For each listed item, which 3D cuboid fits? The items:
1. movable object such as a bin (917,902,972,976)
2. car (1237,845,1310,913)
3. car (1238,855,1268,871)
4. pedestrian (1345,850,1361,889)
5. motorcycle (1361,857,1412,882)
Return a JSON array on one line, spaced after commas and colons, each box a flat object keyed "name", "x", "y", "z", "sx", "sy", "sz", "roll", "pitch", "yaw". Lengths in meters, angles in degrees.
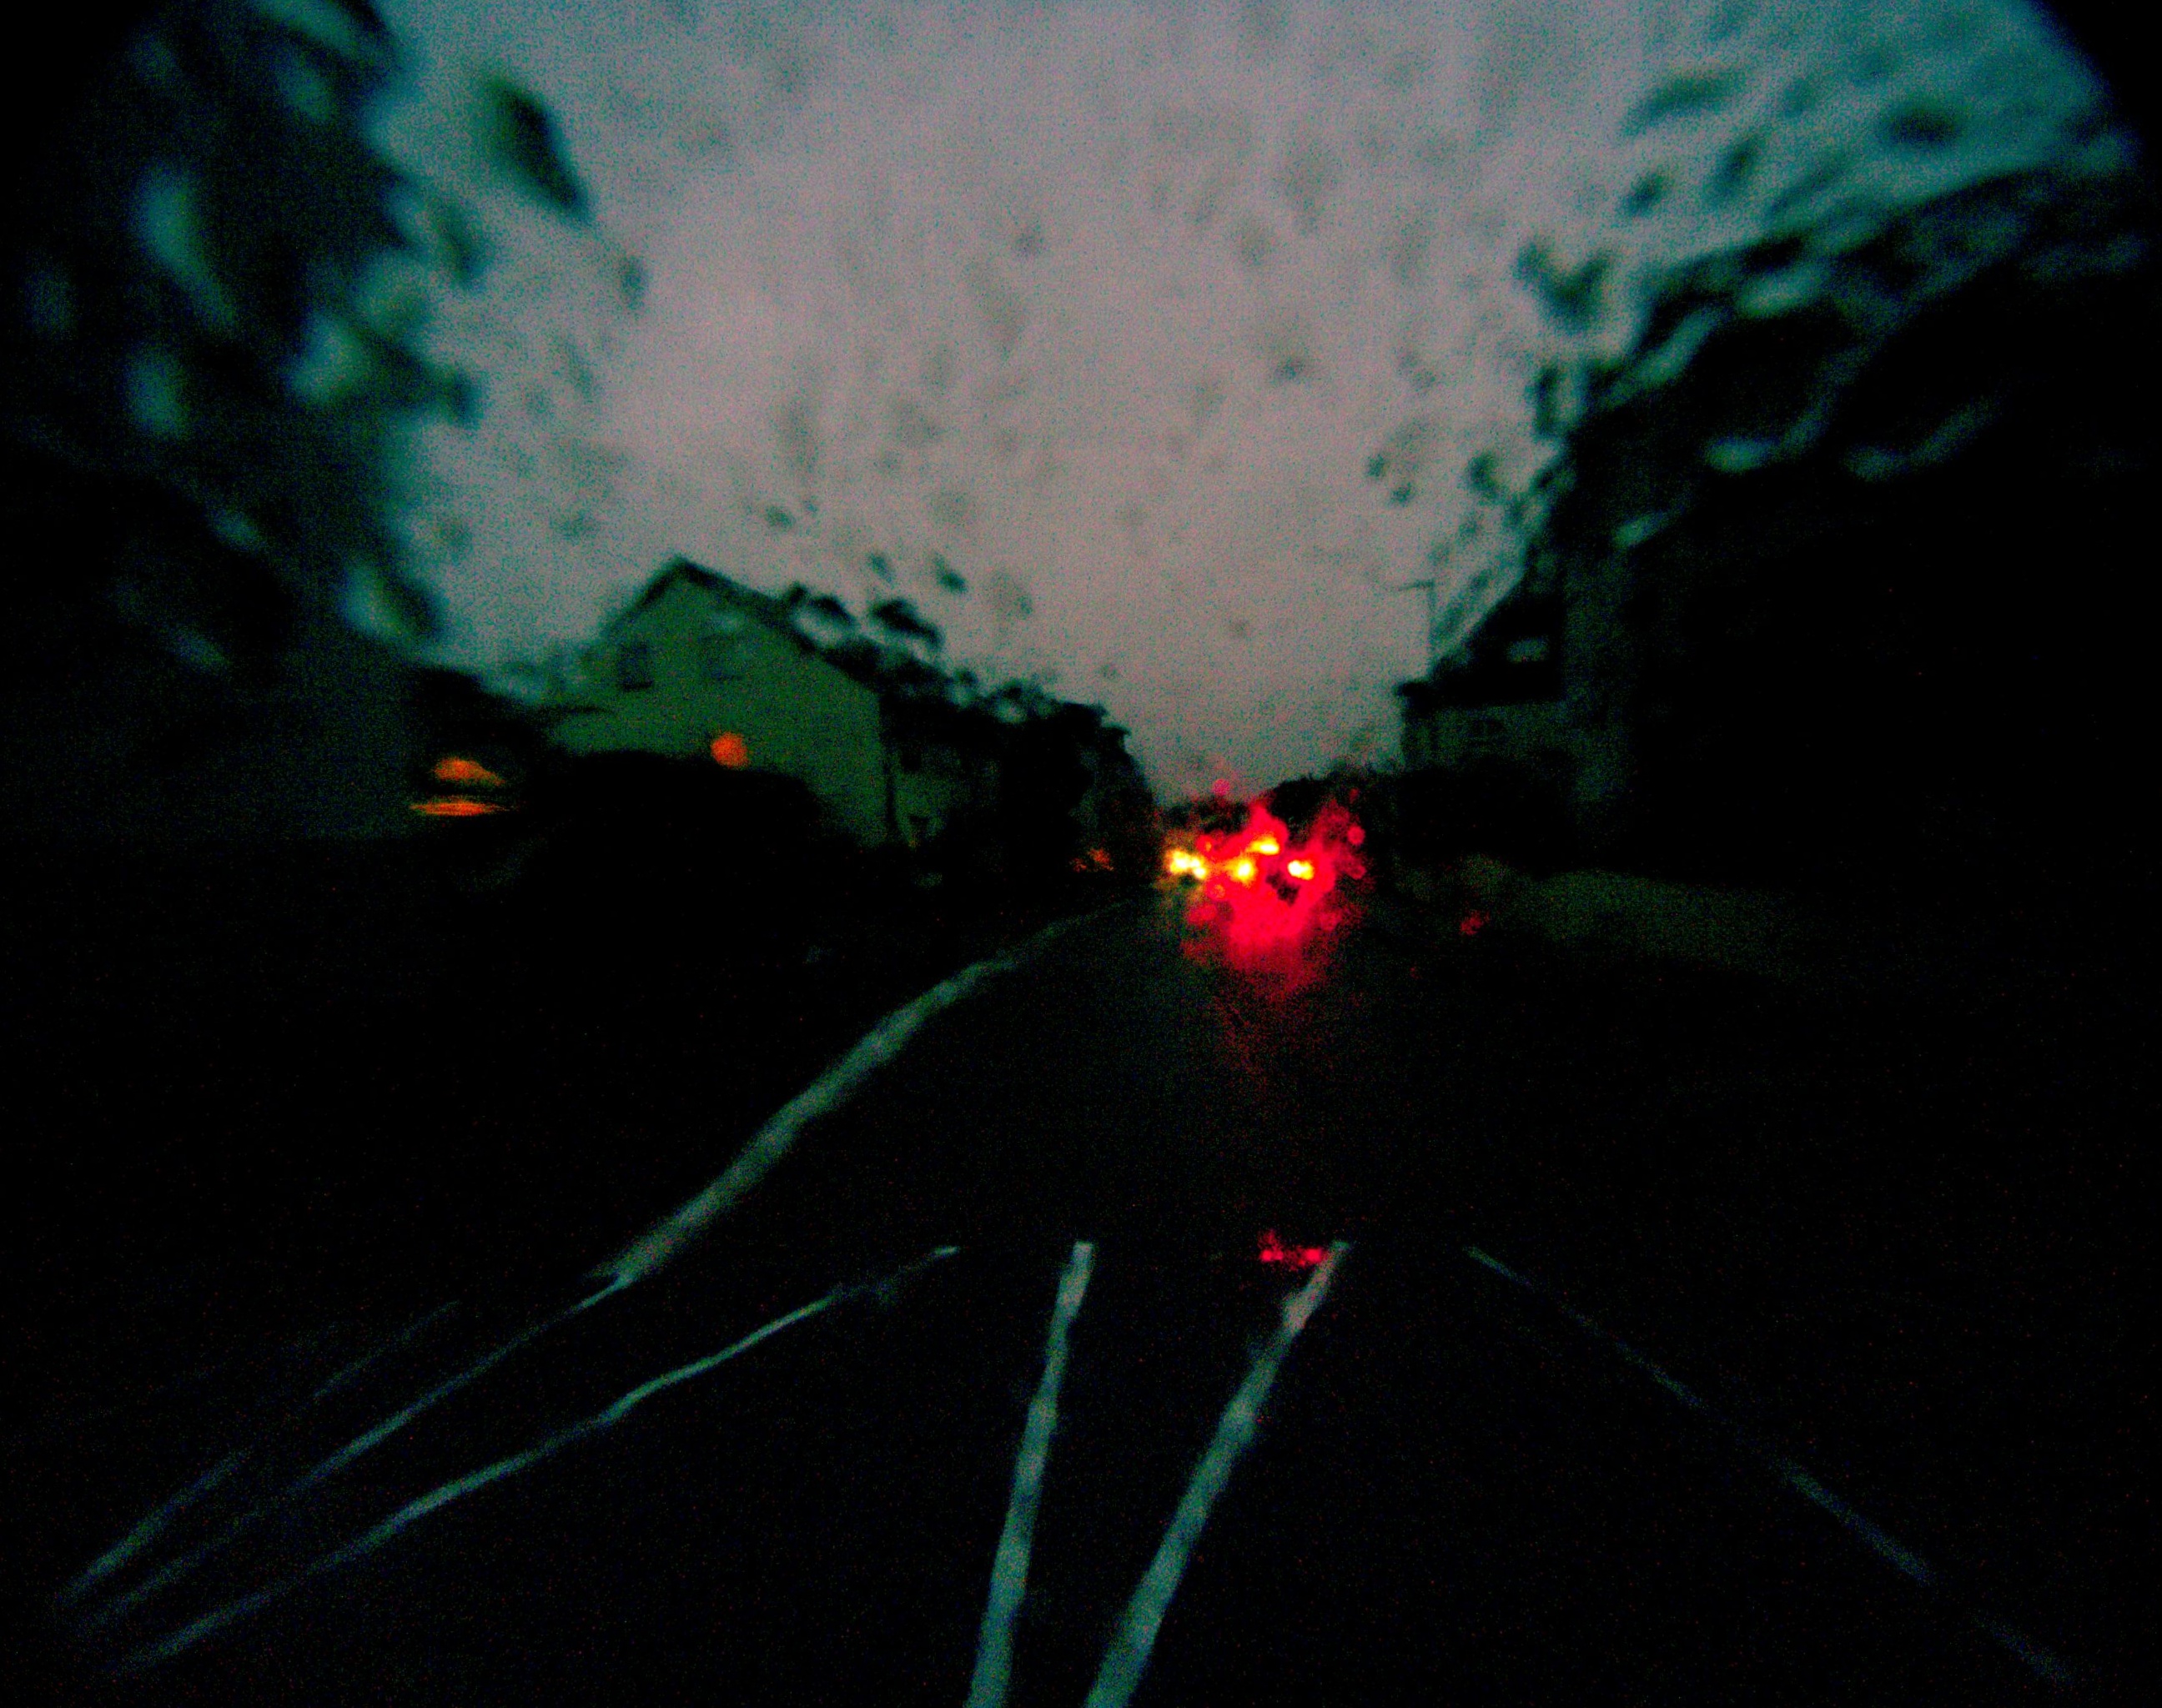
[{"name": "movable object such as a bin", "x": -1.851, "y": 1.153, "z": 10.399, "sx": 0.538, "sy": 0.932, "sz": 0.690, "roll": -2, "pitch": 0, "yaw": 7}, {"name": "car", "x": 6.248, "y": 0.749, "z": 25.100, "sx": 2.113, "sy": 2.015, "sz": 4.987, "roll": -1, "pitch": 0, "yaw": 12}, {"name": "car", "x": 16.633, "y": 0.847, "z": 73.584, "sx": 1.828, "sy": 1.432, "sz": 4.067, "roll": -3, "pitch": 0, "yaw": -1}, {"name": "pedestrian", "x": 12.432, "y": 0.697, "z": 34.785, "sx": 0.598, "sy": 1.723, "sz": 0.813, "roll": -3, "pitch": 1, "yaw": 19}, {"name": "motorcycle", "x": 16.325, "y": 0.838, "z": 40.684, "sx": 1.059, "sy": 1.291, "sz": 2.233, "roll": -3, "pitch": 0, "yaw": -37}]
